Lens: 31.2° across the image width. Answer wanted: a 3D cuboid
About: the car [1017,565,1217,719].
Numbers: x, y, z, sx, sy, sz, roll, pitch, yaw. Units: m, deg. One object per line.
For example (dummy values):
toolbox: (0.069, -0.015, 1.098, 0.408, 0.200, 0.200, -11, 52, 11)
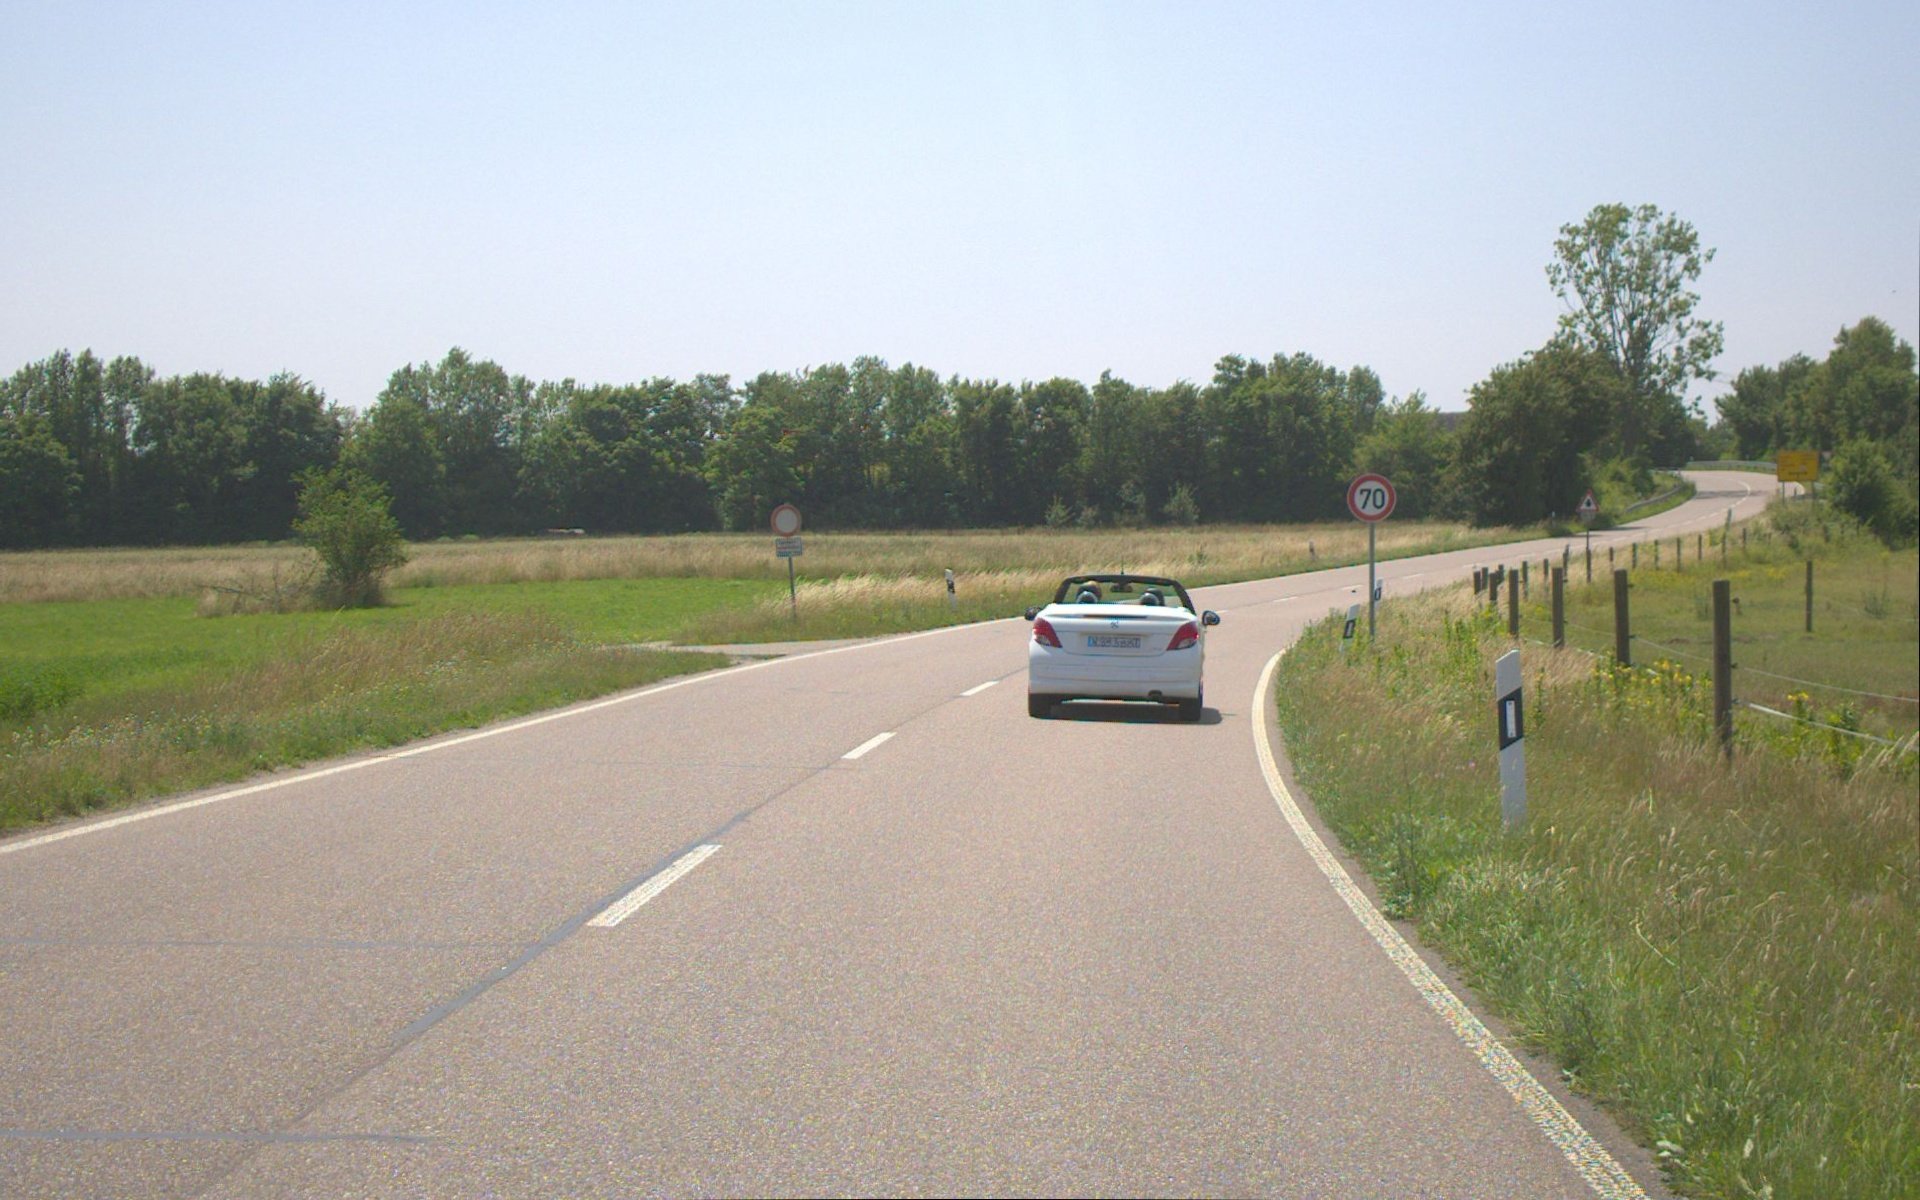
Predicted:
car: (1.585, 0.378, 34.535, 1.851, 1.374, 4.000, 1, 1, 3)
